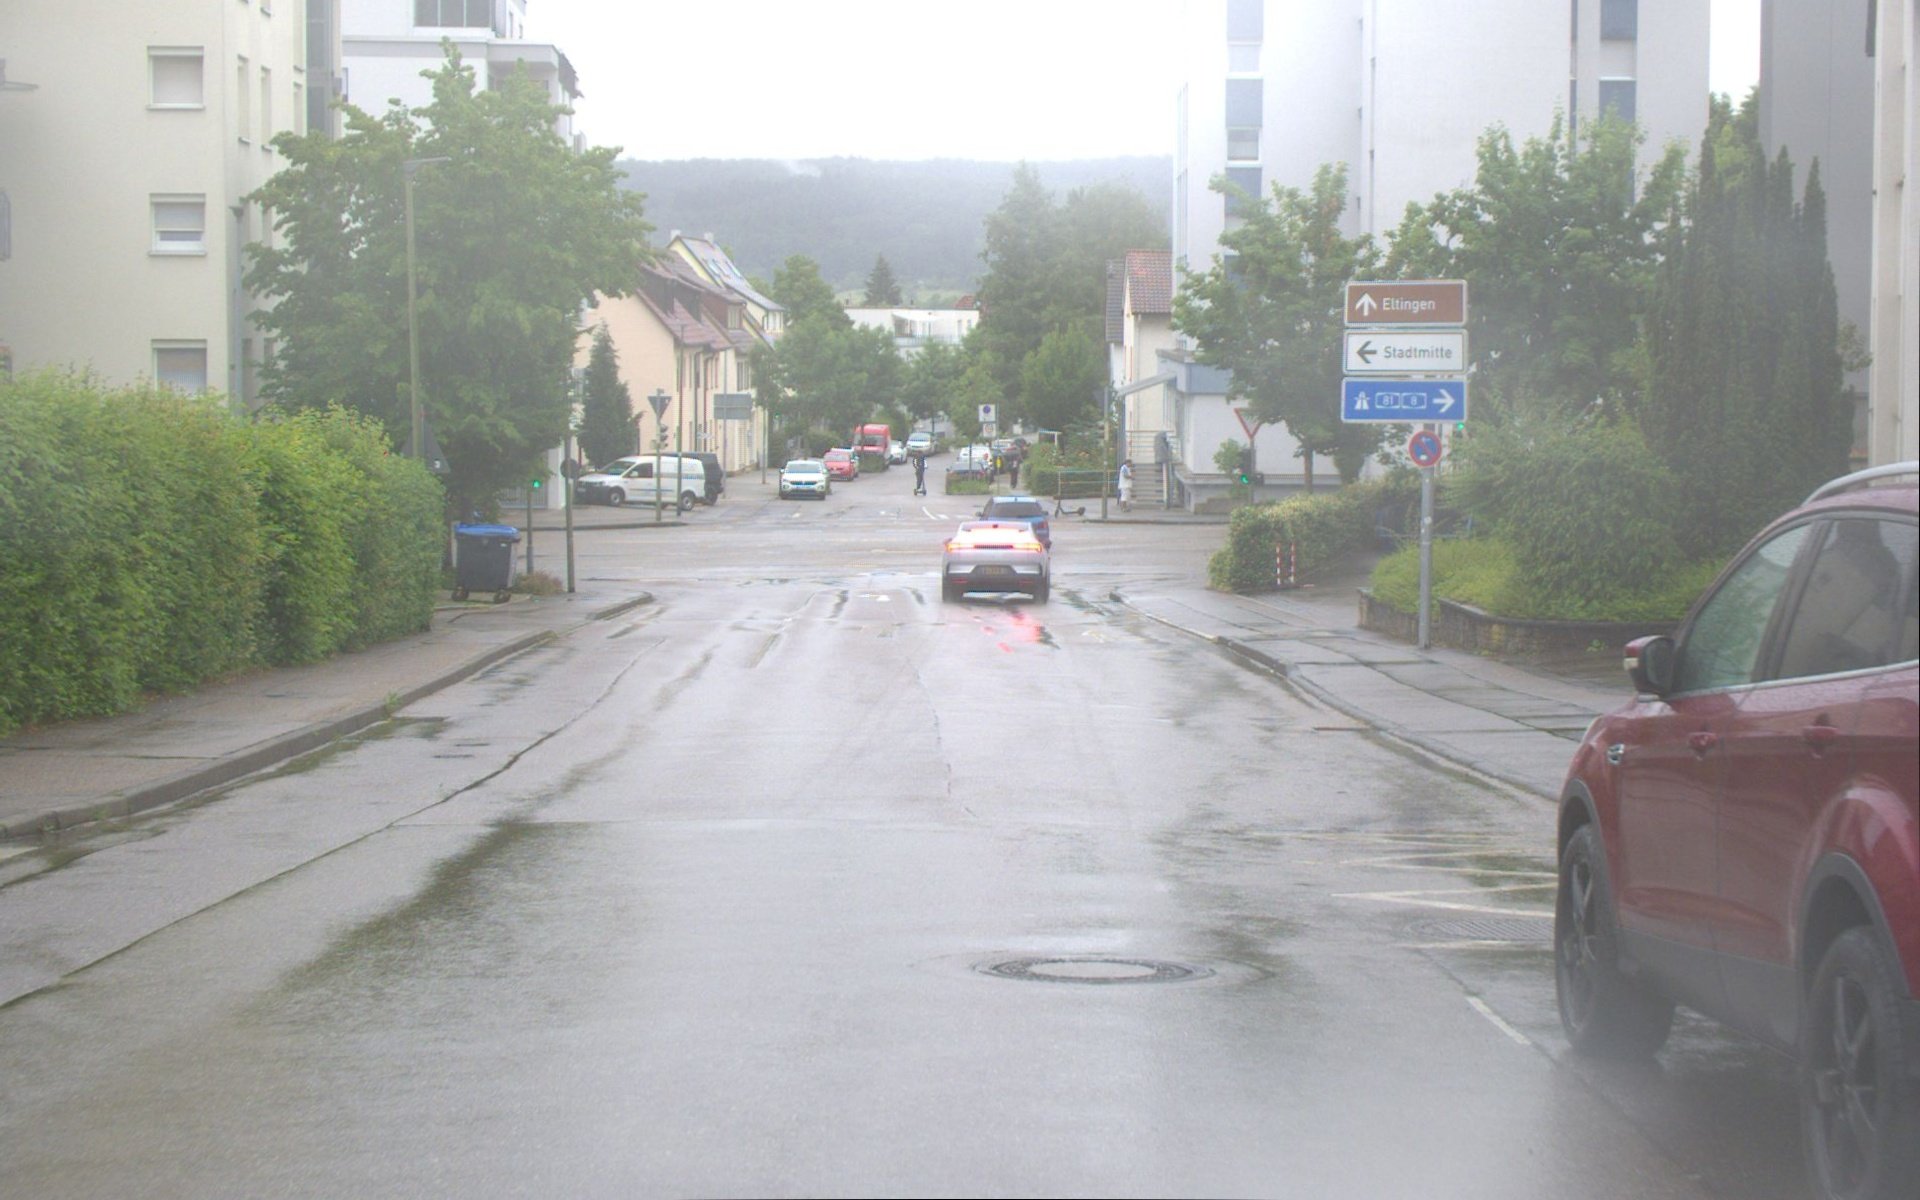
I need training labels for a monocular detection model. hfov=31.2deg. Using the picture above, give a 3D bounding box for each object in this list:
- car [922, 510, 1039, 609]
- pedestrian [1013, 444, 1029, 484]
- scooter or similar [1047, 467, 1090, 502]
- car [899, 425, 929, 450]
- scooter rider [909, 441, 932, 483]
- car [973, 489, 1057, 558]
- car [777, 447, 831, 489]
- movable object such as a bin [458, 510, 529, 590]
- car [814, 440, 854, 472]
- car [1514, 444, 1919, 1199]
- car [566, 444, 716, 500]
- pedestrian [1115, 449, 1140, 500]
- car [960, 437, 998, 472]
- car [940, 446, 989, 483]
[{"bbox_3d":[0.359,-0.798,65.290,1.993,1.678,4.001,-1,3,-2],"label":"car"},{"bbox_3d":[2.825,-6.334,159.916,0.745,1.842,0.526,0,1,2],"label":"pedestrian"},{"bbox_3d":[3.497,-3.713,110.605,1.268,1.077,0.877,-1,3,-5],"label":"scooter or similar"},{"bbox_3d":[-3.011,-10.710,226.466,1.901,1.553,4.192,-1,3,0],"label":"car"},{"bbox_3d":[-1.719,-5.972,148.306,0.752,1.789,0.673,-2,3,-22],"label":"scooter rider"},{"bbox_3d":[1.442,-2.079,92.334,1.993,1.678,4.001,-1,3,-2],"label":"car"},{"bbox_3d":[-6.335,-5.393,139.870,1.993,1.620,4.192,-1,3,0],"label":"car"},{"bbox_3d":[-8.089,-0.876,59.631,1.071,1.343,1.319,2,2,-3],"label":"movable object such as a bin"},{"bbox_3d":[-6.443,-7.392,176.290,1.901,1.553,4.192,-1,3,0],"label":"car"},{"bbox_3d":[2.813,0.467,8.674,1.993,1.638,4.959,0,1,0],"label":"car"},{"bbox_3d":[-11.057,-4.458,119.382,4.830,1.829,2.000,-3,4,-38],"label":"car"},{"bbox_3d":[5.456,-4.098,112.013,0.647,1.641,0.526,2,2,-7],"label":"pedestrian"},{"bbox_3d":[0.969,-7.430,175.292,1.901,1.739,4.192,-1,3,0],"label":"car"},{"bbox_3d":[0.189,-6.059,153.223,2.146,1.583,4.129,-1,3,0],"label":"car"}]
